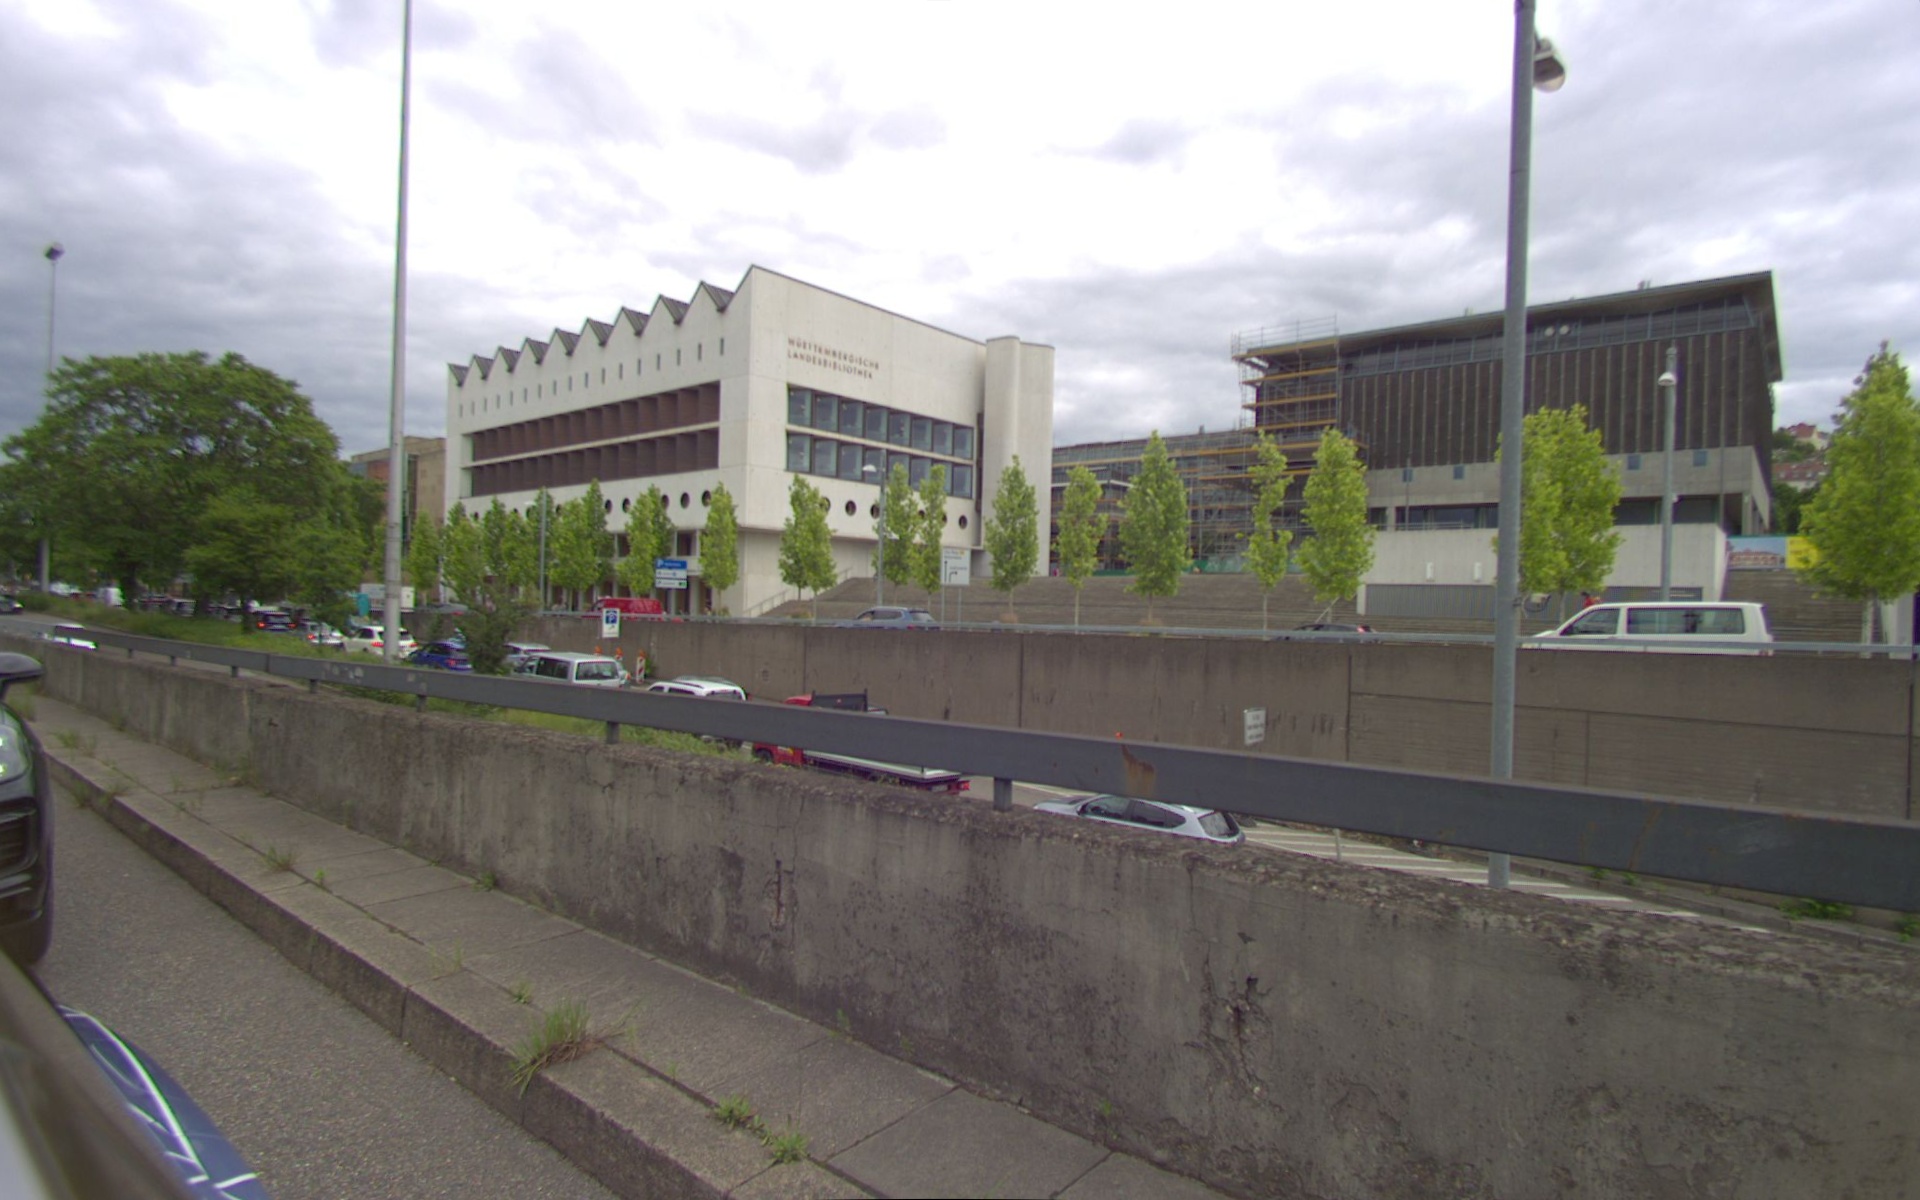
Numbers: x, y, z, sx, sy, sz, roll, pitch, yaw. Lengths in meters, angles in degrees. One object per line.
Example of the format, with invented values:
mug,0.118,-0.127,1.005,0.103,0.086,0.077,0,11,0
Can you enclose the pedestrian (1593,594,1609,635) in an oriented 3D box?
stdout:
pedestrian,24.326,0.537,38.399,0.461,1.533,0.377,-1,0,35

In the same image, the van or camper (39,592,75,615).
van or camper,-82.758,0.367,92.781,3.998,2.029,2.010,-1,-1,41

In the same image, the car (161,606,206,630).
car,-49.989,1.146,65.134,3.360,1.497,1.653,-1,-1,41

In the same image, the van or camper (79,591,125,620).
van or camper,-62.466,0.431,73.691,3.998,2.029,2.010,-1,-1,41

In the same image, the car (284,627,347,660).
car,-31.100,2.082,48.817,3.360,1.497,1.653,-1,-2,41

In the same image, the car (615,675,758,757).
car,-7.761,3.191,28.586,3.998,2.029,1.973,-1,-5,41

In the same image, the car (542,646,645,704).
car,-14.133,2.856,38.928,3.998,2.029,1.973,-1,-5,41

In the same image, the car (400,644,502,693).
car,-19.653,2.627,39.006,4.279,1.757,1.973,-1,-5,41

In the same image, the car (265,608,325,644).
car,-40.283,1.612,61.271,3.998,2.029,1.973,-1,-5,41

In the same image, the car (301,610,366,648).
car,-35.735,1.689,57.725,3.998,2.029,1.973,-1,-5,41

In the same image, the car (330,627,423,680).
car,-25.421,2.301,44.037,4.849,2.148,1.973,-1,-5,41

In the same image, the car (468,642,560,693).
car,-18.860,2.840,42.760,3.998,2.029,1.973,-1,-5,41

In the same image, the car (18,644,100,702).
car,-36.153,2.870,40.585,3.998,2.029,1.973,-1,0,41

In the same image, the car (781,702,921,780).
car,-3.205,4.028,29.498,3.862,1.830,1.973,-2,-3,40

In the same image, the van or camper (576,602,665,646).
van or camper,-16.538,1.161,49.212,4.552,2.029,1.974,-2,-2,39

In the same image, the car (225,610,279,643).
car,-47.051,1.765,67.212,3.998,2.029,1.973,-1,-5,41

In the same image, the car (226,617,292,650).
car,-37.148,1.736,53.599,3.998,1.672,1.973,-1,-1,41

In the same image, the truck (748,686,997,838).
truck,-2.171,3.553,23.522,5.976,2.711,2.294,-1,-1,42

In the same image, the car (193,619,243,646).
car,-42.404,1.852,57.815,3.360,1.497,1.653,-1,-1,41

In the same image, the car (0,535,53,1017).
car,-5.661,0.660,4.482,4.677,1.690,1.913,-1,-1,41

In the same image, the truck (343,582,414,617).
truck,-39.046,0.004,67.878,5.606,2.174,1.979,-1,-1,35

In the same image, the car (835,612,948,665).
car,-2.588,1.414,37.741,3.998,1.829,1.973,-2,-2,41

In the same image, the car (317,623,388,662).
car,-32.923,2.271,54.811,4.653,2.029,1.973,-1,-1,41

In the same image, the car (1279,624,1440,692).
car,11.781,1.670,29.997,3.998,1.829,1.973,-2,-2,41

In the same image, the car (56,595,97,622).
car,-71.846,0.681,82.279,3.998,2.028,1.973,-1,2,41

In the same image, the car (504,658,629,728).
car,-12.943,2.999,33.208,4.330,2.029,1.973,-1,-5,41

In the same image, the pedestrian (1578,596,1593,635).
pedestrian,24.504,0.597,39.639,0.461,1.533,0.377,-1,0,35

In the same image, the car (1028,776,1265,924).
car,3.366,4.469,18.663,3.925,1.829,1.771,-1,-1,40

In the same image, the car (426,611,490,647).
car,-30.021,1.708,60.472,3.996,2.029,1.974,-1,0,40

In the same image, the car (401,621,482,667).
car,-24.336,2.073,47.430,3.998,2.029,1.973,-1,-5,41

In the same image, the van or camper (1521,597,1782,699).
van or camper,15.217,1.016,22.425,4.555,2.029,1.973,-2,-2,41
